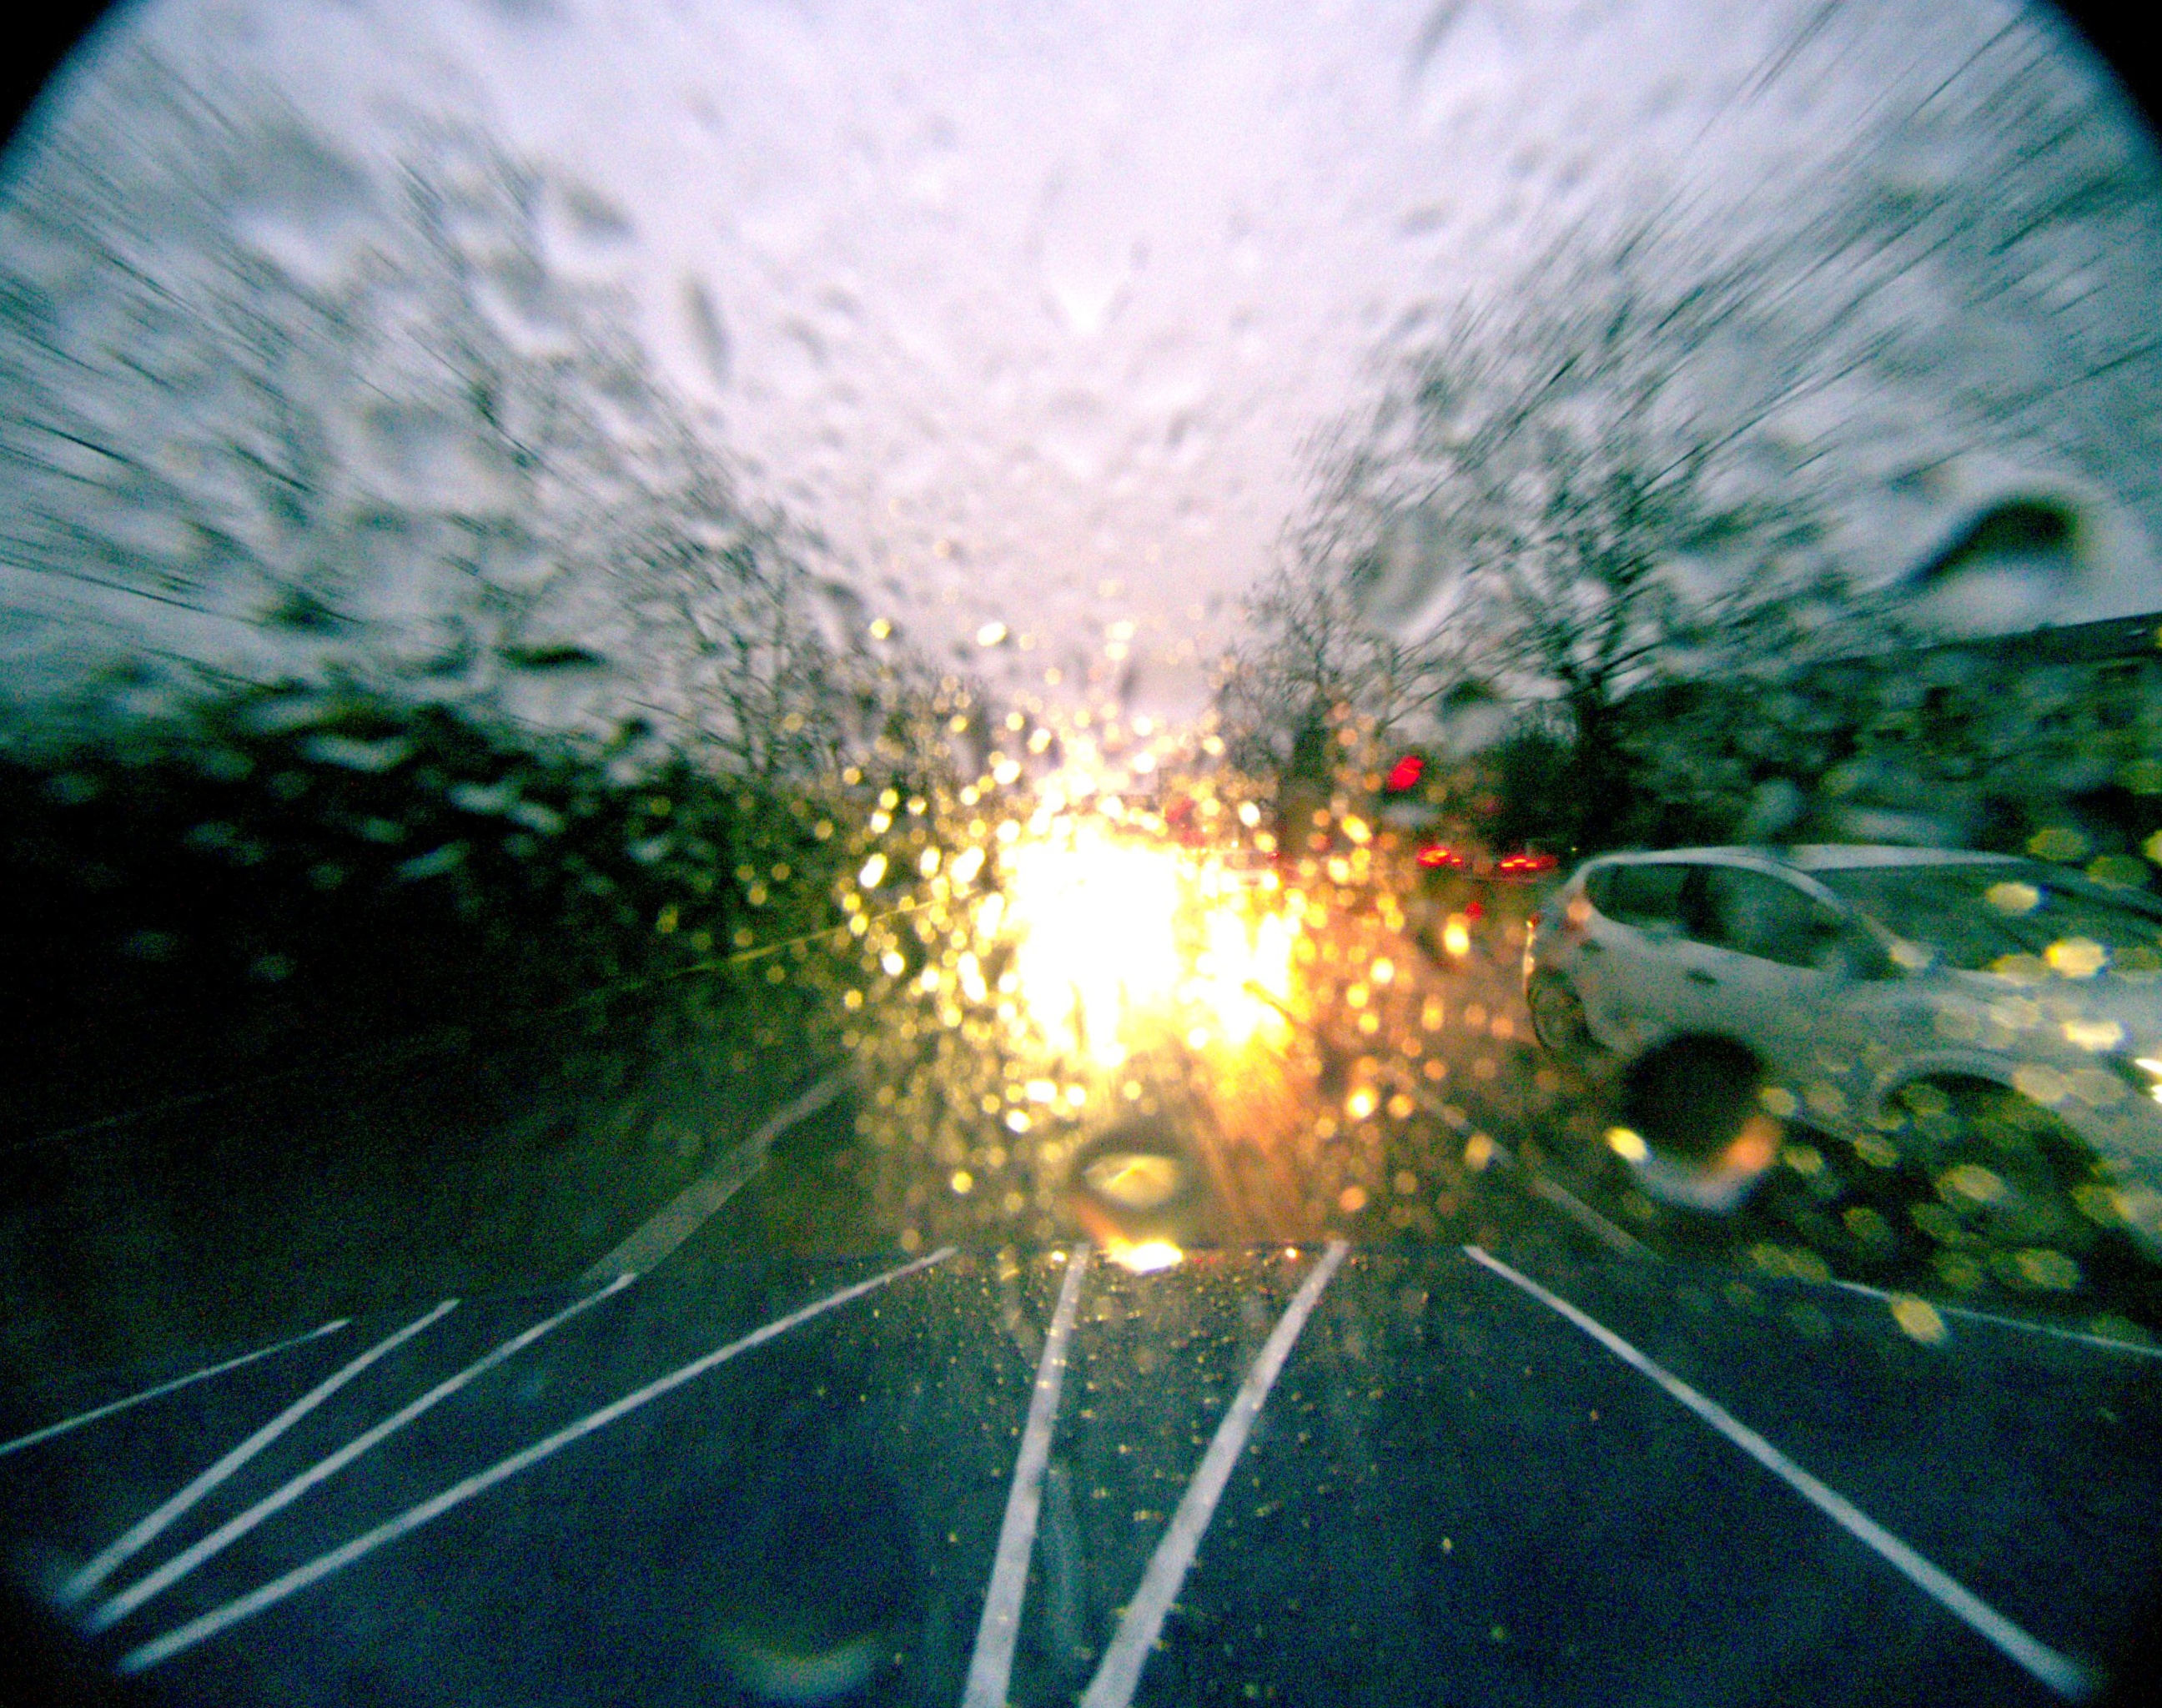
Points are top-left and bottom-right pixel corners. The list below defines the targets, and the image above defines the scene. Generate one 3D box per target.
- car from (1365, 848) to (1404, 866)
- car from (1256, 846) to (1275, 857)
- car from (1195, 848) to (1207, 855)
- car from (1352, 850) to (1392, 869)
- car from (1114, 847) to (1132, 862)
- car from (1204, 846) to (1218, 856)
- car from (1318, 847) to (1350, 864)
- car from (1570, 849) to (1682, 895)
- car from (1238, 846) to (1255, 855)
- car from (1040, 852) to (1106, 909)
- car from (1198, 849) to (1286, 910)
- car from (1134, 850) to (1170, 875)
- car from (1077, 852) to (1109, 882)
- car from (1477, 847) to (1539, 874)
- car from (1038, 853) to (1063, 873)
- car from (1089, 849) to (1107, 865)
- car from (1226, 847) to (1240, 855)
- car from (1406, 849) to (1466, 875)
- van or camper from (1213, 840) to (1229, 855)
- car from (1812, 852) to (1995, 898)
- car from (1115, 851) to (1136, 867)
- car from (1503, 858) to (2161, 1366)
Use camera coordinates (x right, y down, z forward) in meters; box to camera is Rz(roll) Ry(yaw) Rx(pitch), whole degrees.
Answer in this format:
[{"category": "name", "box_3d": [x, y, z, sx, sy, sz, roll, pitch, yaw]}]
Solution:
[{"category": "car", "box_3d": [26.376, 0.271, 66.180, 1.722, 1.480, 4.271, -1, 1, 1]}, {"category": "car", "box_3d": [23.076, -0.292, 95.181, 1.541, 1.320, 3.956, -1, 1, 1]}, {"category": "car", "box_3d": [20.277, -0.406, 128.604, 1.459, 1.190, 3.999, -2, 1, 1]}, {"category": "car", "box_3d": [22.372, 0.379, 58.542, 1.653, 1.346, 3.956, -1, 1, 1]}, {"category": "car", "box_3d": [4.761, 0.012, 86.017, 1.852, 1.610, 3.951, -2, 1, 1]}, {"category": "car", "box_3d": [20.998, -0.461, 123.108, 1.573, 1.495, 3.999, -2, 1, 1]}, {"category": "car", "box_3d": [22.784, 0.129, 68.446, 1.653, 1.491, 3.956, -1, 1, 1]}, {"category": "car", "box_3d": [21.290, 0.644, 29.883, 1.621, 1.672, 3.981, -1, 0, 1]}, {"category": "car", "box_3d": [23.179, -0.517, 106.318, 1.541, 1.304, 4.000, -1, 1, 1]}, {"category": "car", "box_3d": [-0.191, 0.744, 23.405, 1.830, 1.524, 4.000, -1, 1, 1]}, {"category": "car", "box_3d": [4.626, 0.671, 22.396, 1.765, 1.590, 4.164, -1, 1, 1]}, {"category": "car", "box_3d": [4.753, 0.552, 51.281, 2.026, 1.522, 4.145, -1, 1, 0]}, {"category": "car", "box_3d": [0.722, 0.693, 43.587, 1.728, 1.573, 3.790, -1, 1, 1]}, {"category": "car", "box_3d": [25.366, 0.352, 45.255, 1.636, 1.459, 3.791, -1, 1, 1]}, {"category": "car", "box_3d": [-2.344, 0.699, 59.499, 1.728, 1.426, 3.790, -1, 1, 1]}, {"category": "car", "box_3d": [1.897, 0.318, 85.370, 1.852, 1.610, 3.951, -2, 1, 1]}, {"category": "car", "box_3d": [23.851, -0.467, 119.450, 1.541, 1.285, 4.000, -1, 1, 1]}, {"category": "car", "box_3d": [22.313, 0.482, 47.901, 1.788, 1.524, 4.377, -1, 1, 1]}, {"category": "van or camper", "box_3d": [24.663, -1.187, 134.122, 1.967, 2.594, 4.738, -1, 1, 1]}, {"category": "car", "box_3d": [28.286, 0.654, 26.374, 1.753, 1.387, 4.299, -1, 1, 1]}, {"category": "car", "box_3d": [3.980, 0.450, 68.205, 1.697, 1.327, 3.999, -2, 1, 1]}, {"category": "car", "box_3d": [4.099, 0.780, 3.769, 1.728, 1.432, 4.226, -1, 0, 1]}]
